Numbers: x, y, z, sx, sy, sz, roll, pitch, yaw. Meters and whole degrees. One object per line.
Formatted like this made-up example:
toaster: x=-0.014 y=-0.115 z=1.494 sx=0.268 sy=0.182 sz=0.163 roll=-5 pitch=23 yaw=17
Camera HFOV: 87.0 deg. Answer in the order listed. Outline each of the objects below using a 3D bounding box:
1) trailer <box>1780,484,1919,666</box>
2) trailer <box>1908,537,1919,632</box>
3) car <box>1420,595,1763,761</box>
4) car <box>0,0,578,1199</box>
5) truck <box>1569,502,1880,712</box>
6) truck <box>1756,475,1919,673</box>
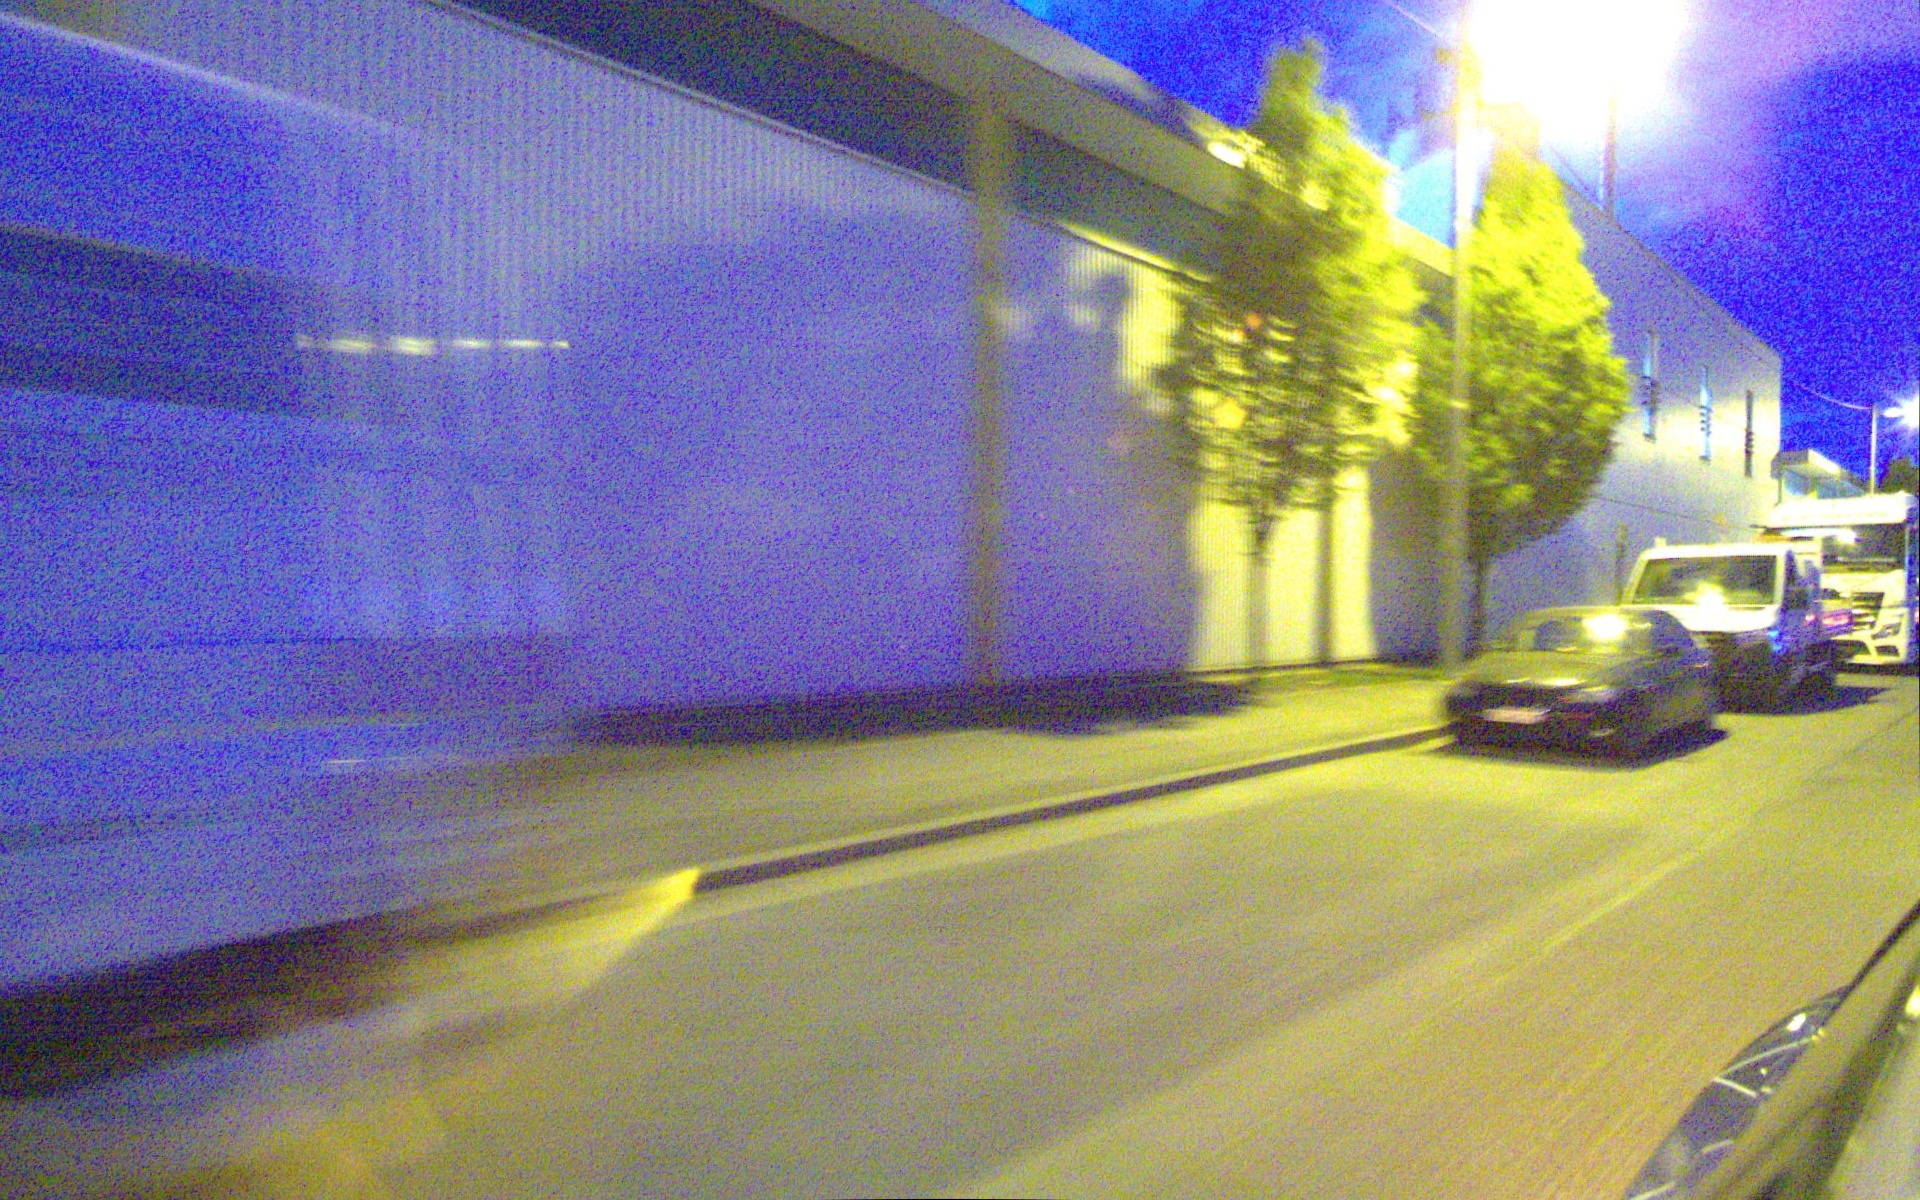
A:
trailer: x=24.874 y=-0.581 z=26.523 sx=14.400 sy=3.811 sz=2.770 roll=-1 pitch=0 yaw=-41
trailer: x=39.868 y=-0.544 z=39.834 sx=8.138 sy=3.568 sz=2.883 roll=0 pitch=1 yaw=-41
car: x=7.006 y=0.693 z=10.992 sx=4.823 sy=1.426 sz=1.832 roll=0 pitch=-2 yaw=-41
car: x=-3.755 y=0.144 z=1.148 sx=5.909 sy=2.604 sz=1.996 roll=0 pitch=-2 yaw=-41
truck: x=11.990 y=0.070 z=15.641 sx=6.479 sy=2.627 sz=2.407 roll=0 pitch=0 yaw=-40
truck: x=19.705 y=-0.526 z=22.038 sx=5.137 sy=3.811 sz=2.770 roll=0 pitch=0 yaw=-41
